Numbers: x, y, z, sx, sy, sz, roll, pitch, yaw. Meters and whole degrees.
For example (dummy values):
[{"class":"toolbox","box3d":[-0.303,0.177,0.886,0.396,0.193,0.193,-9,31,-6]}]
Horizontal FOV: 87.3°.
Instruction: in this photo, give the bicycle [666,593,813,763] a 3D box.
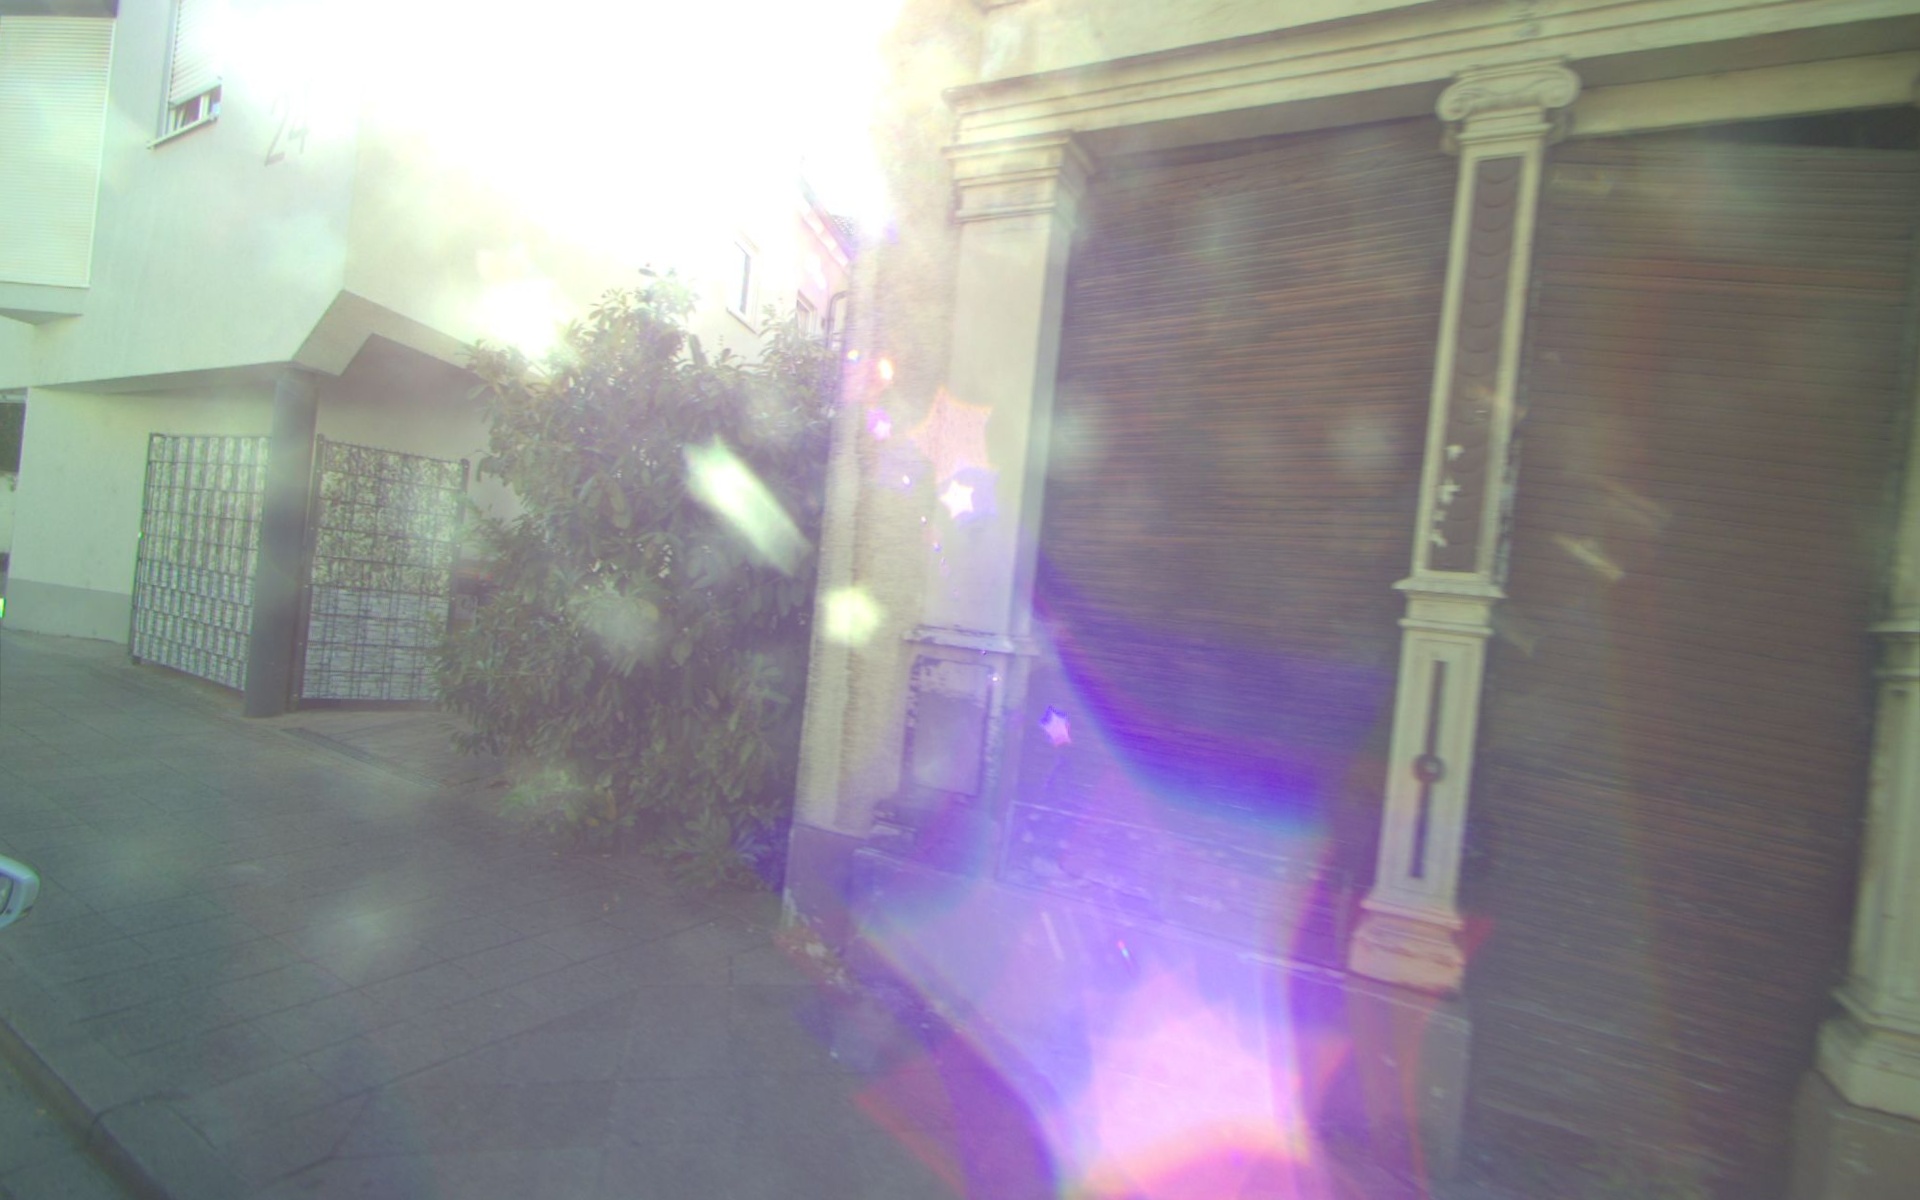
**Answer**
[{"class":"bicycle","box3d":[-1.650,0.533,7.818,0.688,1.092,1.805,6,1,-1]}]

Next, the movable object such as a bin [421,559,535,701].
[{"class":"movable object such as a bin","box3d":[-4.156,0.254,8.693,0.574,1.143,0.601,5,1,15]}]
